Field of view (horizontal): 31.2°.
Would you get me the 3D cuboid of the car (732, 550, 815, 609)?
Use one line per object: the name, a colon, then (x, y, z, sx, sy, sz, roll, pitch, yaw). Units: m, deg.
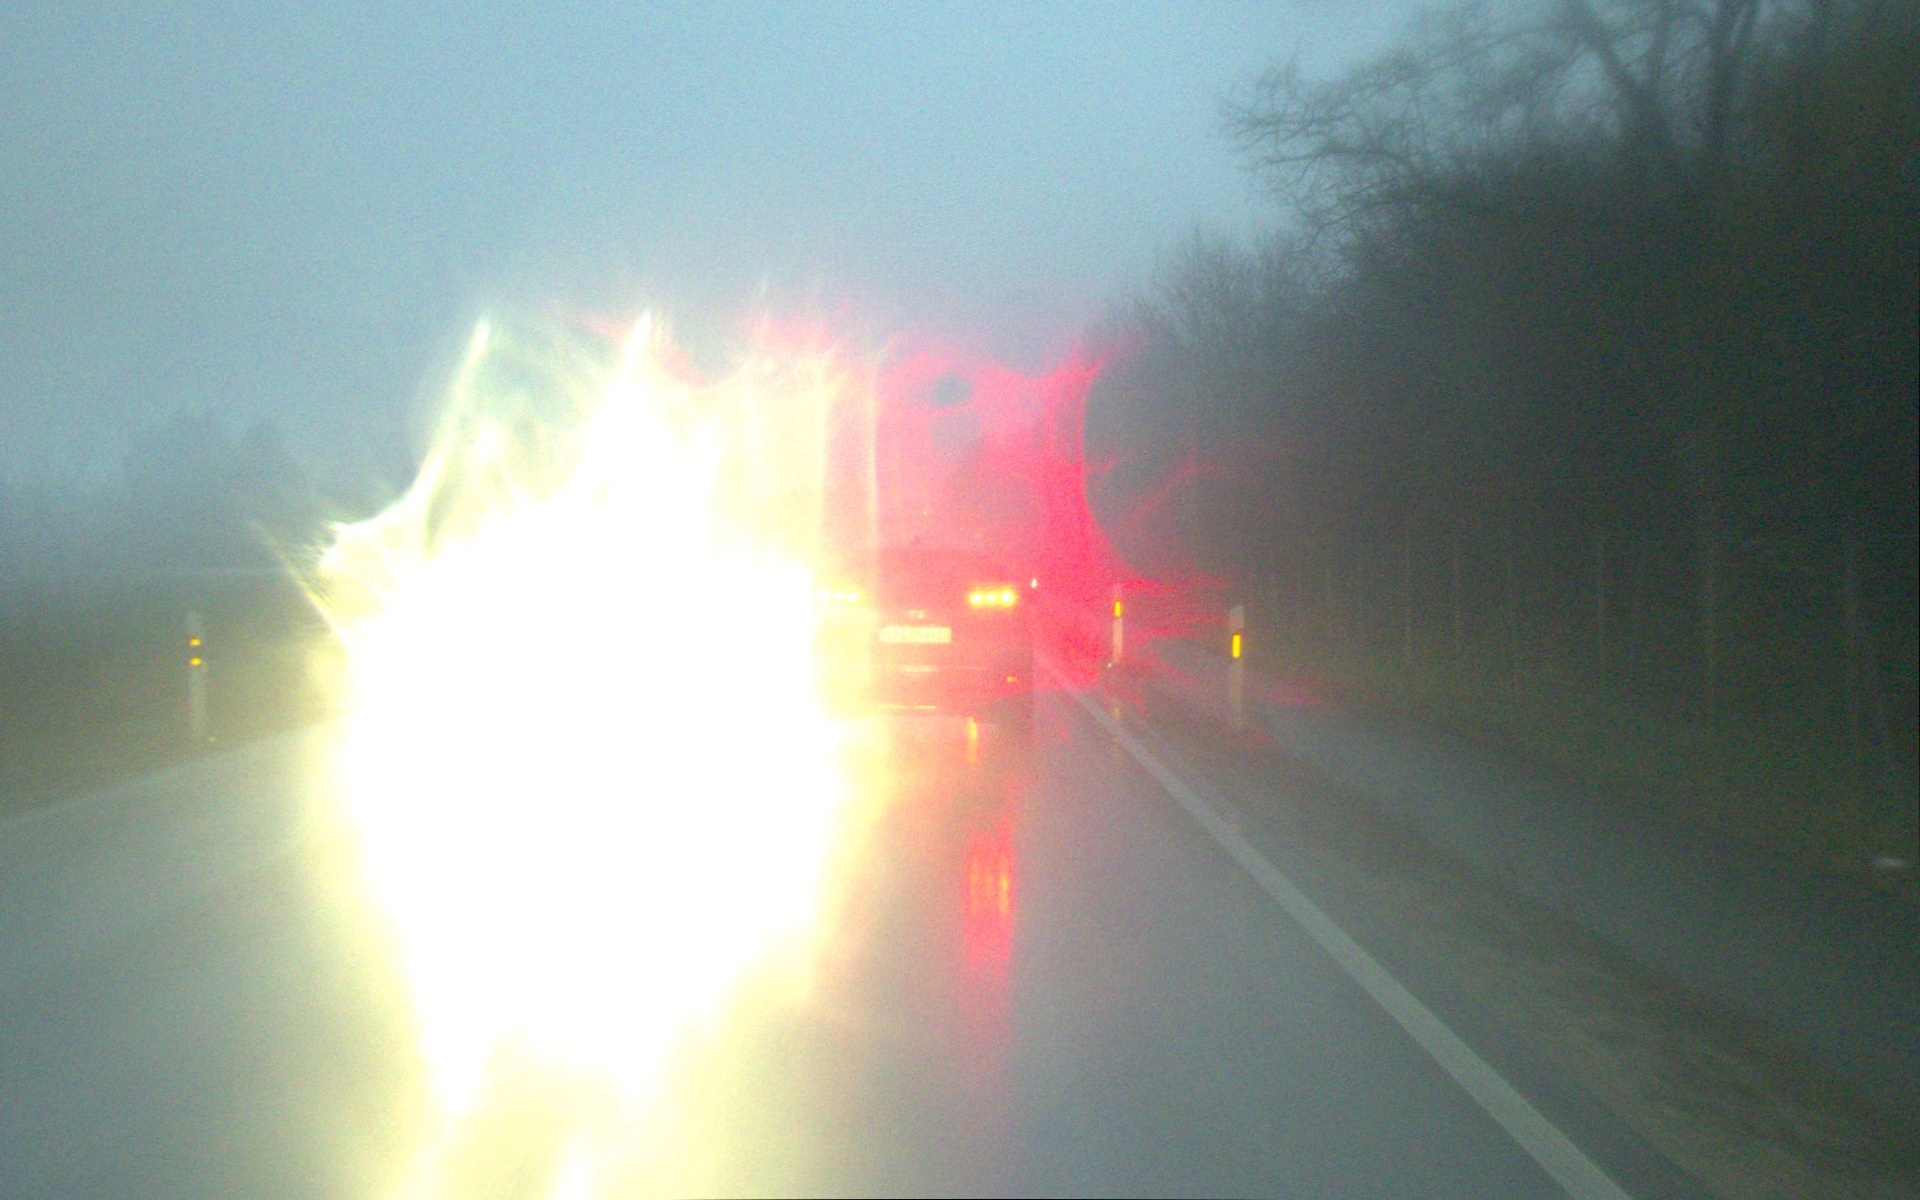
car: (-5.128, -0.572, 95.008, 1.993, 1.458, 4.352, -4, 1, -1)

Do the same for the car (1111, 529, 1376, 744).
car: (2.415, 0.282, 30.179, 1.928, 1.744, 4.000, 1, 1, -1)

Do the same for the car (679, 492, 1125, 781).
car: (-0.440, 0.194, 28.048, 3.164, 2.028, 6.852, -1, 1, 0)

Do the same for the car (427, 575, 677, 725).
car: (-3.977, 0.451, 34.179, 1.993, 1.367, 4.398, 1, 1, -1)
